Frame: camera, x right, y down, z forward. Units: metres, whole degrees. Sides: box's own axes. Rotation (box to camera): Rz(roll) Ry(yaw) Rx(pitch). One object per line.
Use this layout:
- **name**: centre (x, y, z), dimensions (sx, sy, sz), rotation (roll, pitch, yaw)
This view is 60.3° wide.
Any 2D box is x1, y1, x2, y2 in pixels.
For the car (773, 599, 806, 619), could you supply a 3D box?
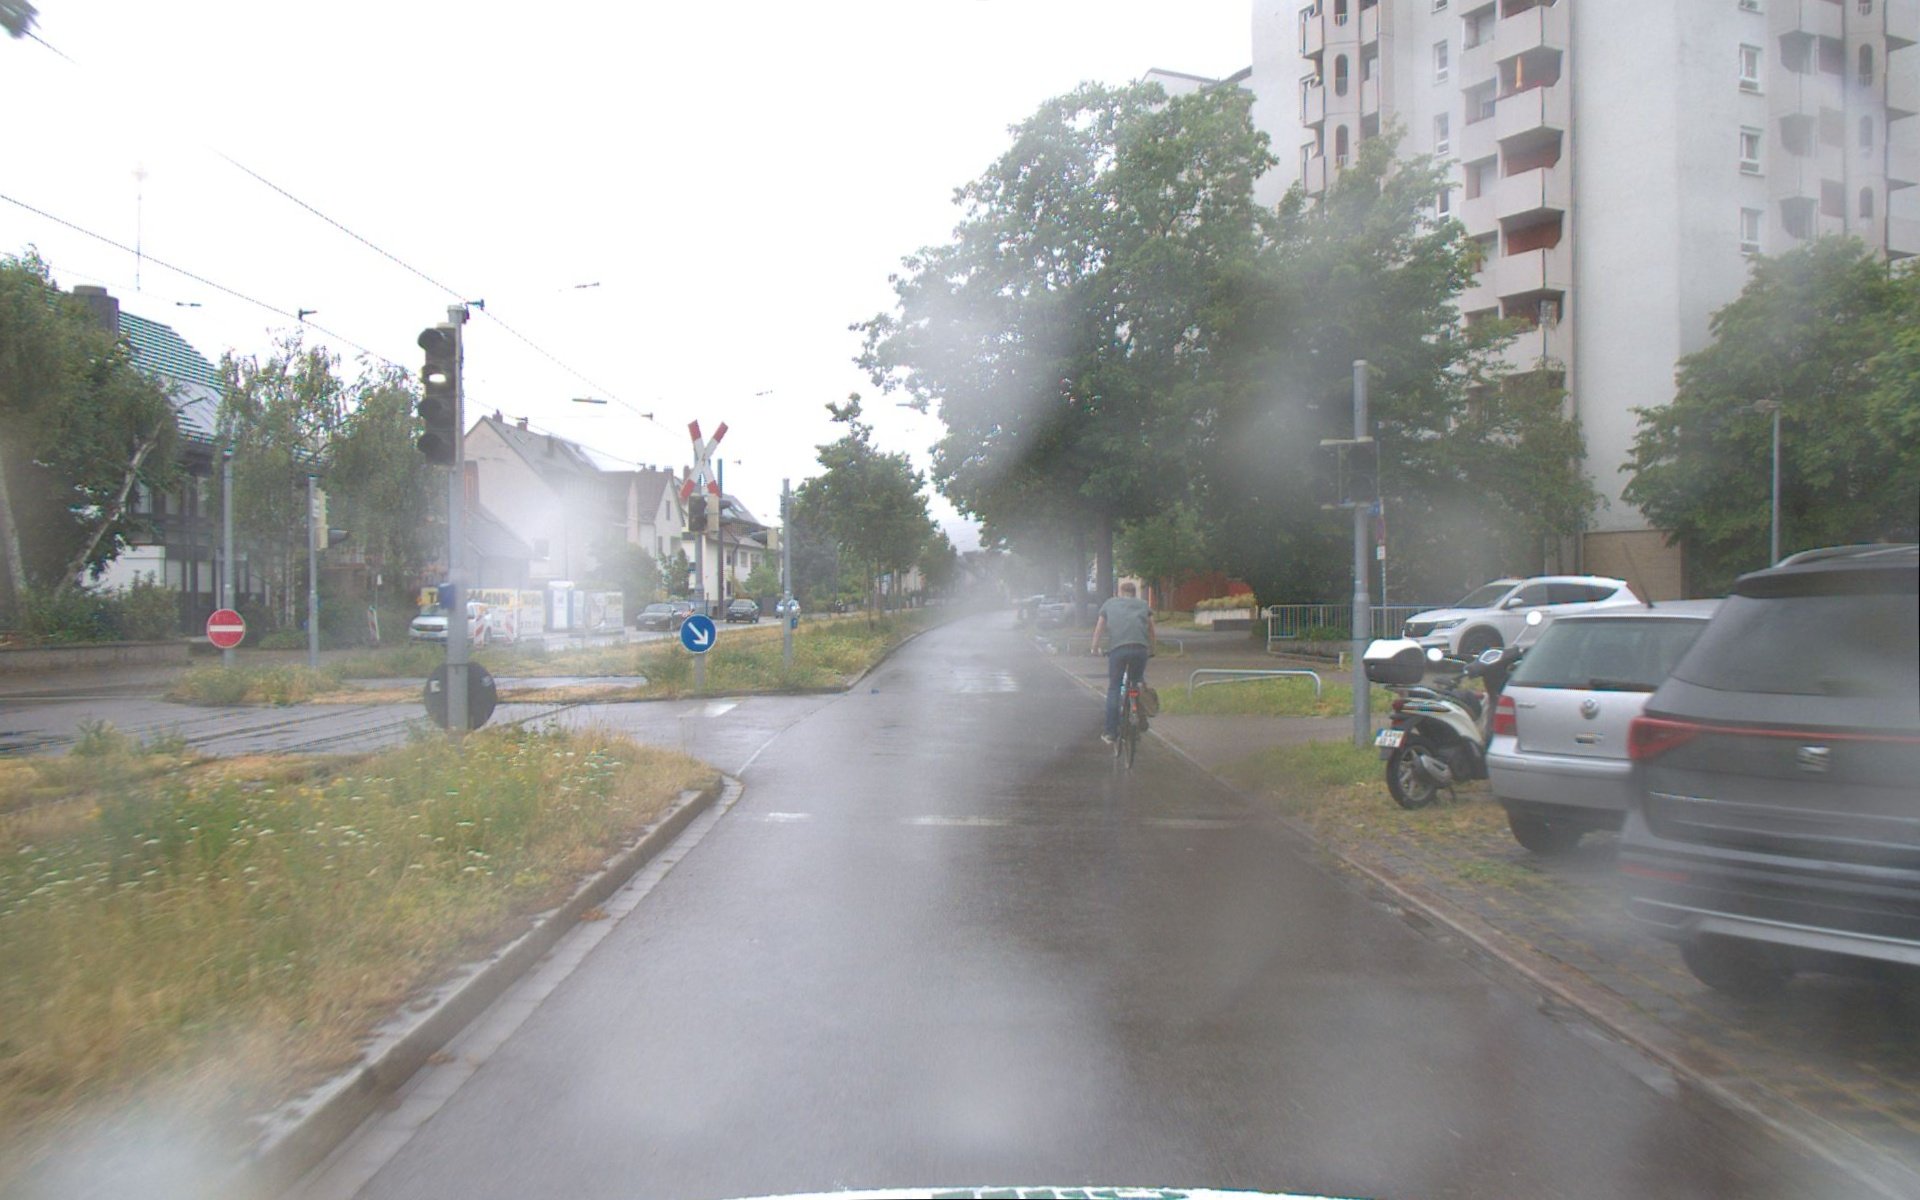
- **car**: centre (-13.722, 0.697, 133.135), dimensions (1.857, 1.495, 4.690), rotation (1, 0, 4)

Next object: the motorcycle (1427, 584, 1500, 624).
- **motorcycle**: centre (17.023, 0.143, 55.974), dimensions (0.876, 1.311, 2.273), rotation (-1, 0, -36)

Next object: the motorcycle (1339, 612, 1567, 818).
- **motorcycle**: centre (3.652, 0.799, 12.193), dimensions (1.761, 1.360, 0.680), rotation (-2, 1, -37)

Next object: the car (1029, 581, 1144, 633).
- **car**: centre (5.011, 0.271, 65.184), dimensions (4.094, 1.749, 1.979), rotation (-4, 1, -31)

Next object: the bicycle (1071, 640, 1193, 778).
- **bicycle**: centre (1.588, 0.980, 15.688), dimensions (0.793, 1.116, 2.516), rotation (-1, 0, -2)

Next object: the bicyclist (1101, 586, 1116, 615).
- **bicyclist**: centre (8.525, 0.045, 94.948), dimensions (0.719, 1.622, 0.945), rotation (-1, 0, 1)

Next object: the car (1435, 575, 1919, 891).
- **car**: centre (4.821, 0.618, 9.862), dimensions (4.081, 1.447, 1.716), rotation (-2, 1, -37)

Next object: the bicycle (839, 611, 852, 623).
- **bicycle**: centre (-11.322, 1.668, 163.554), dimensions (0.997, 1.045, 3.197), rotation (-1, 0, 1)

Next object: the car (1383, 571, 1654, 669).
- **car**: centre (10.873, 0.366, 32.288), dimensions (4.723, 1.776, 1.992), rotation (-1, 0, -15)

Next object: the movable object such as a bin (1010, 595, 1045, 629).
- **movable object such as a bin**: centre (3.203, 0.585, 78.576), dimensions (1.109, 1.482, 1.393), rotation (-7, 2, -20)

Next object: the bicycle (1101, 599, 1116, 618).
- **bicycle**: centre (8.528, 0.493, 94.981), dimensions (0.719, 1.075, 2.051), rotation (-1, 0, 1)

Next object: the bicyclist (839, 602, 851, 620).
- **bicyclist**: centre (-11.344, 1.081, 163.071), dimensions (0.997, 1.715, 1.092), rotation (-1, 0, 1)

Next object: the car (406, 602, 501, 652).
- **car**: centre (-17.030, 0.870, 55.770), dimensions (1.675, 1.569, 4.423), rotation (1, 0, 2)

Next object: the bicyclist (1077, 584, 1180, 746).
- **bicyclist**: centre (1.577, 0.595, 15.626), dimensions (0.793, 1.458, 1.059), rotation (-1, 0, -3)

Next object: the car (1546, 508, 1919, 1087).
- **car**: centre (4.372, 0.531, 6.285), dimensions (4.297, 1.680, 1.836), rotation (-1, 0, -34)

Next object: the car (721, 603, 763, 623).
- **car**: centre (-14.584, 0.871, 111.002), dimensions (1.857, 1.266, 4.690), rotation (1, 0, 4)

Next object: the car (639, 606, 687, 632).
- **car**: centre (-15.249, 0.955, 85.049), dimensions (1.629, 1.266, 4.072), rotation (1, 0, 1)

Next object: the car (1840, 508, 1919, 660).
- **car**: centre (21.706, -0.352, 34.626), dimensions (5.955, 3.016, 2.122), rotation (-1, 0, -15)
